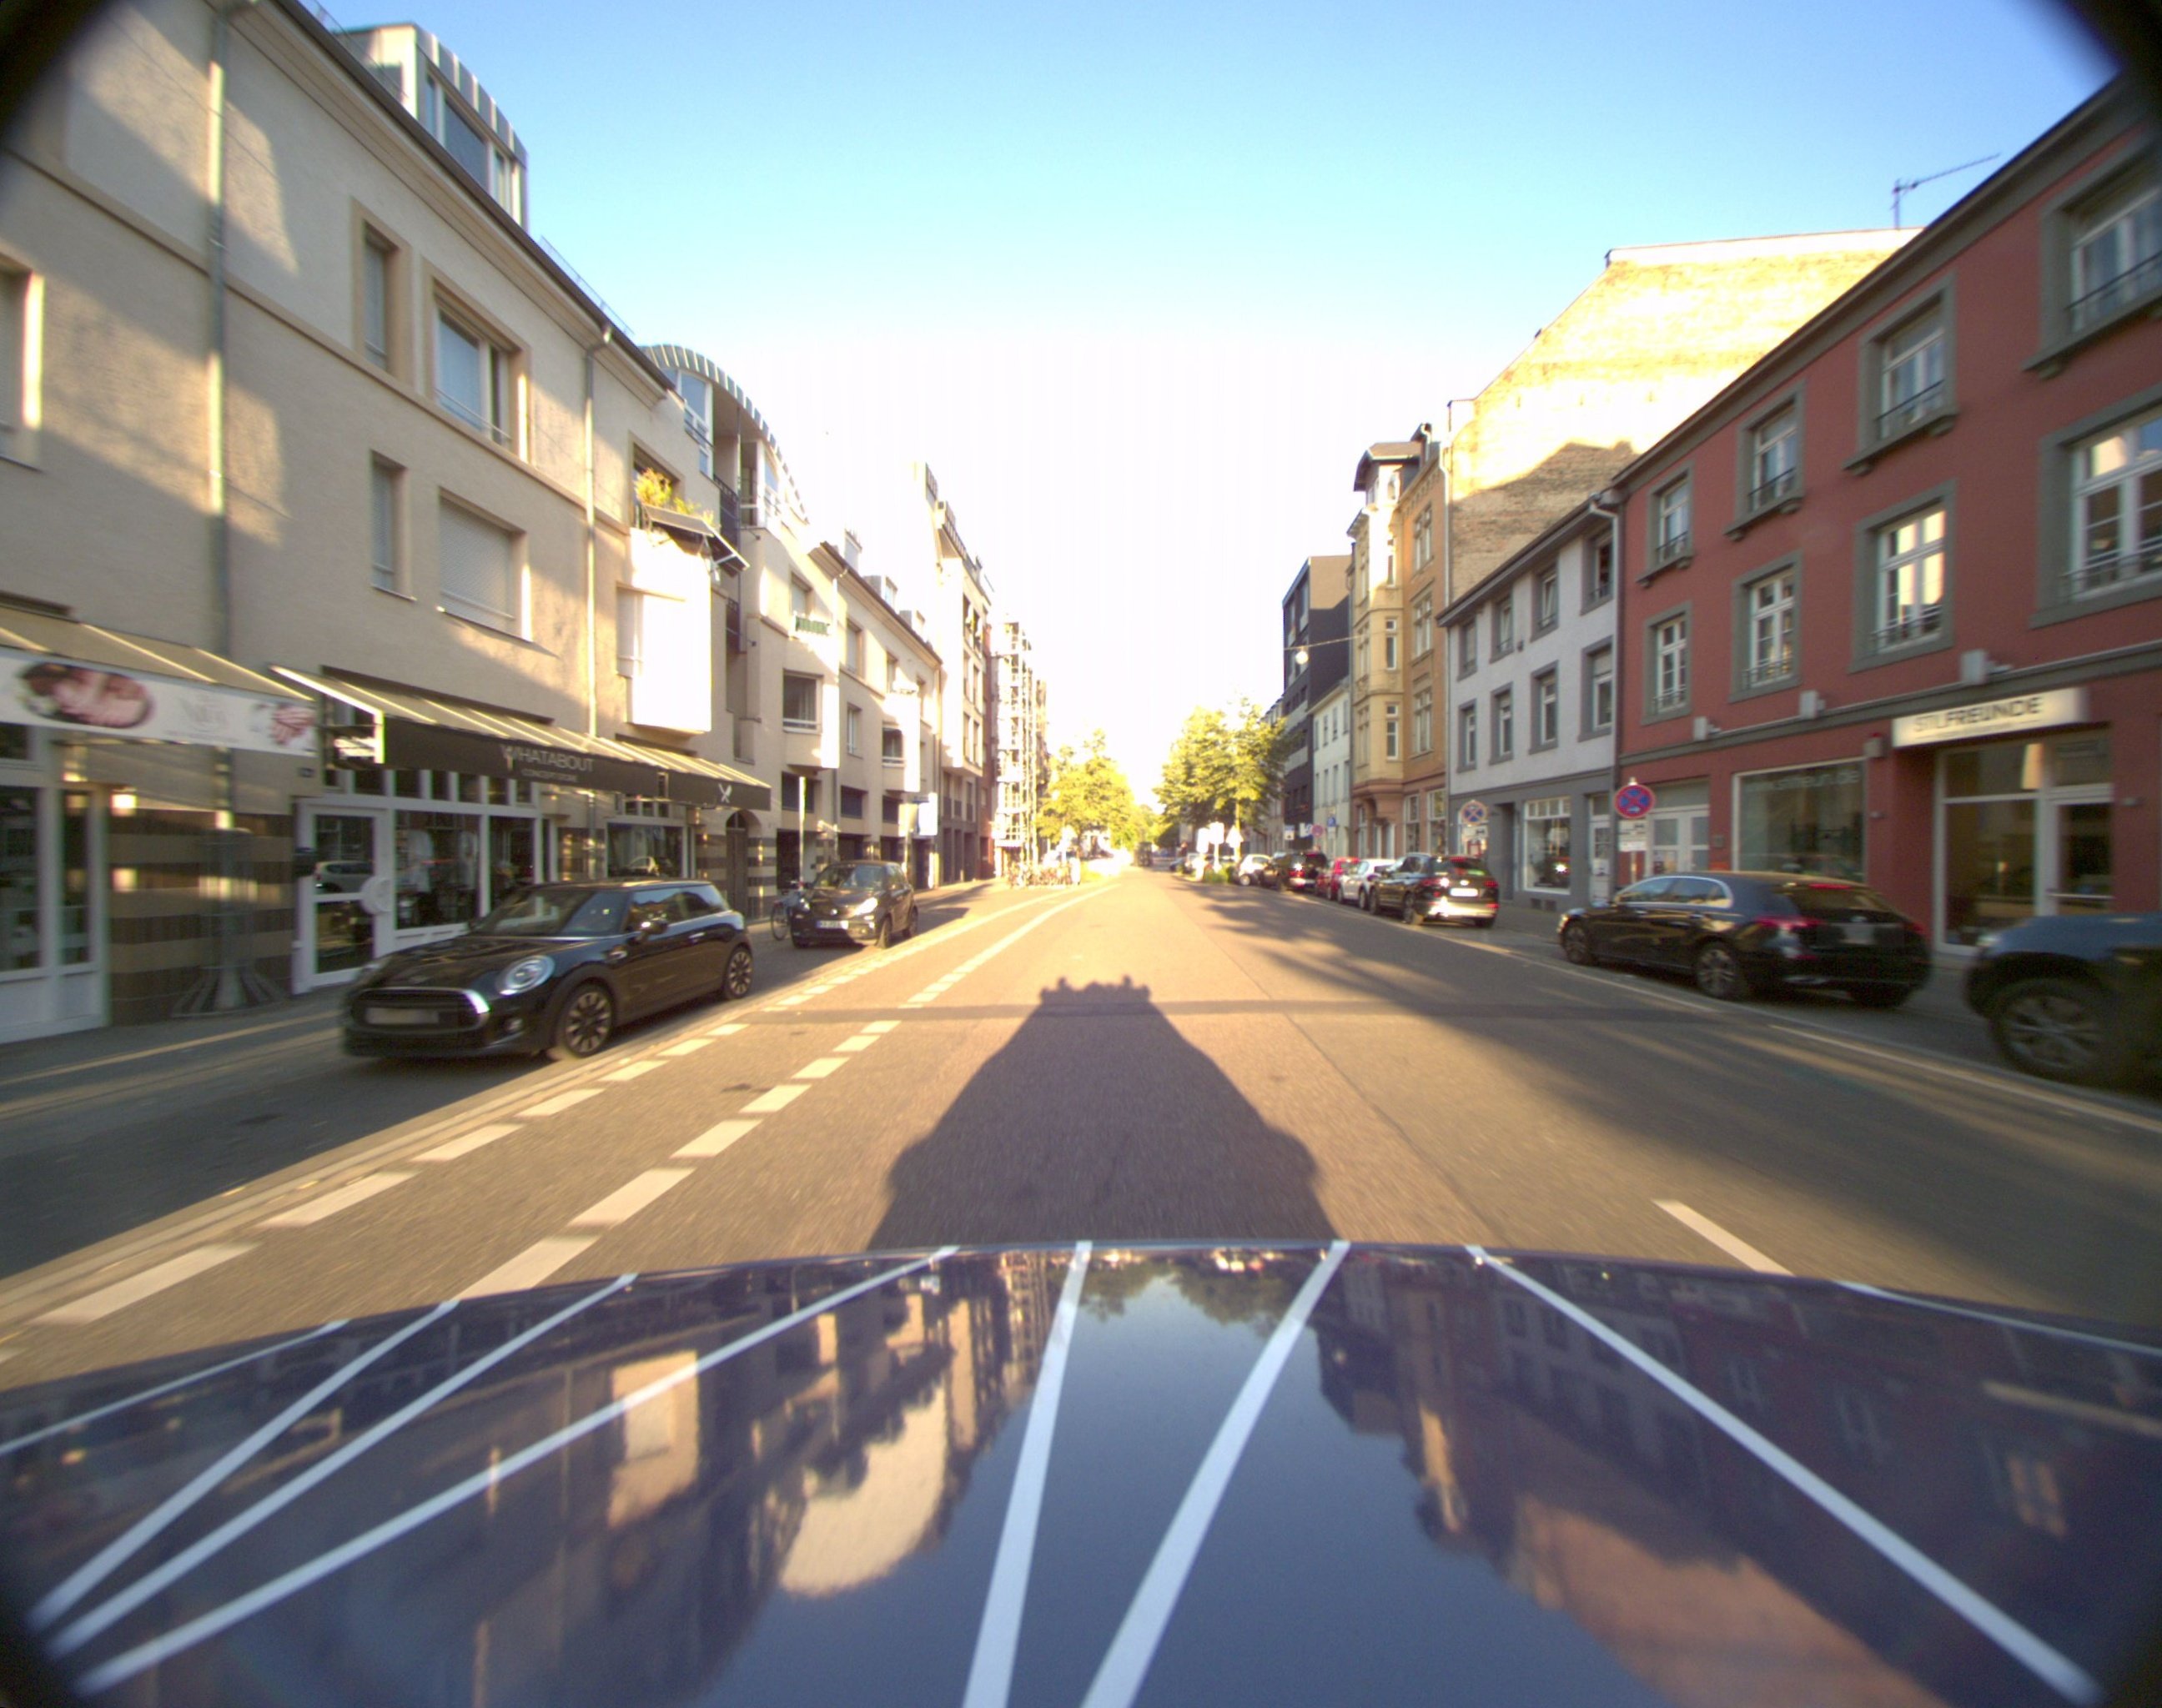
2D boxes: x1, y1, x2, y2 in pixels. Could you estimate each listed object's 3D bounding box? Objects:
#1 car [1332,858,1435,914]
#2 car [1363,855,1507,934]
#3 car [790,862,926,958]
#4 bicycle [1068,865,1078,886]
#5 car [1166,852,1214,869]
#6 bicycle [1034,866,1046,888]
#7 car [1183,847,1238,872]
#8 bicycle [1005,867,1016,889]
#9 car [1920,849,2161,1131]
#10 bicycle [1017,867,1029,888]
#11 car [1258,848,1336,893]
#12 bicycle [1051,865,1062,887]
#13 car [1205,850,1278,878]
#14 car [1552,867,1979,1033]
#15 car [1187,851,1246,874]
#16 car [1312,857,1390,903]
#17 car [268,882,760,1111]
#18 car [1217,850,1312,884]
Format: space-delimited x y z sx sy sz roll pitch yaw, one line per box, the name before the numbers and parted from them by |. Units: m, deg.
car | 8.925 0.878 22.770 1.770 1.455 3.868 1 1 5
car | 8.317 0.867 18.288 1.770 1.604 4.218 1 1 5
car | -4.065 0.962 14.249 1.571 1.540 2.804 1 1 3
bicycle | -0.407 1.027 36.681 0.469 0.952 1.918 0 1 -1
car | 10.856 0.624 75.666 4.196 1.618 2.053 1 1 -13
bicycle | -1.972 1.082 36.500 0.469 0.952 1.918 0 1 -1
car | 10.789 0.427 63.562 4.191 1.972 2.056 1 1 -1
bicycle | -3.357 1.132 36.364 0.470 0.952 1.918 0 1 -3
car | 7.699 0.870 3.455 1.998 1.759 5.300 1 0 2
bicycle | -2.768 1.109 36.233 0.469 0.952 1.918 0 1 -1
car | 8.836 0.623 31.522 2.055 1.742 4.217 1 1 1
bicycle | -1.163 1.054 36.613 0.469 0.952 1.918 0 1 -1
car | 9.520 0.601 45.305 3.910 1.572 1.959 1 1 -1
car | 7.996 0.971 9.561 1.770 1.502 4.218 1 0 5
car | 10.372 0.617 58.388 4.131 1.667 1.996 1 1 0
car | 9.406 0.850 26.730 1.689 1.455 3.543 1 1 5
car | -4.796 1.067 7.220 1.726 1.413 3.749 1 1 3
car | 9.073 0.642 37.768 4.191 1.572 2.056 1 1 -1
